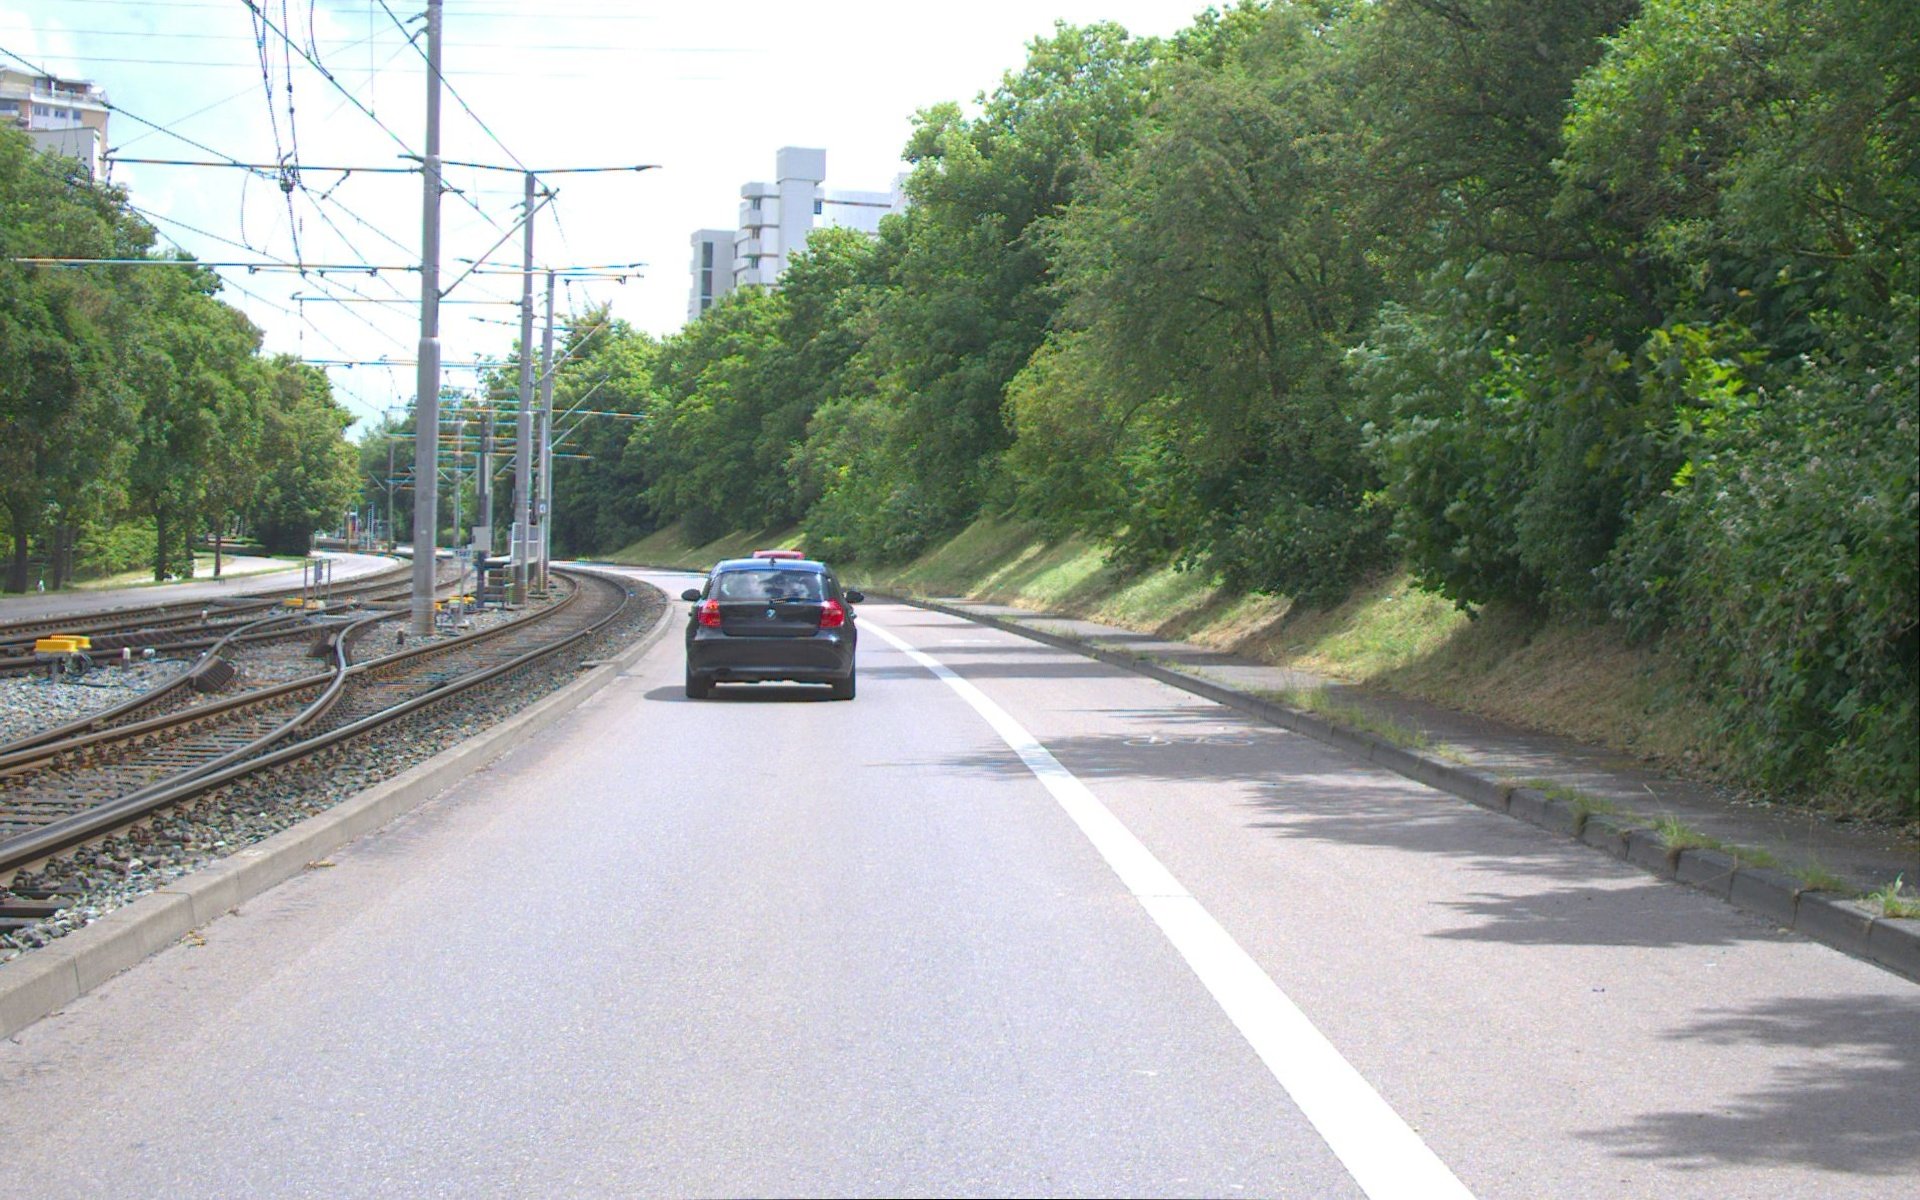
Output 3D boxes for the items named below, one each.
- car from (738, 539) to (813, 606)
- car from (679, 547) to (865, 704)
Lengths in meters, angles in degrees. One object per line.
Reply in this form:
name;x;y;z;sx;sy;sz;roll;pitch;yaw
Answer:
car;-4.295;-0.650;79.867;1.624;1.438;3.422;2;1;-4
car;-1.903;0.246;35.810;1.708;1.455;3.960;3;0;-1
